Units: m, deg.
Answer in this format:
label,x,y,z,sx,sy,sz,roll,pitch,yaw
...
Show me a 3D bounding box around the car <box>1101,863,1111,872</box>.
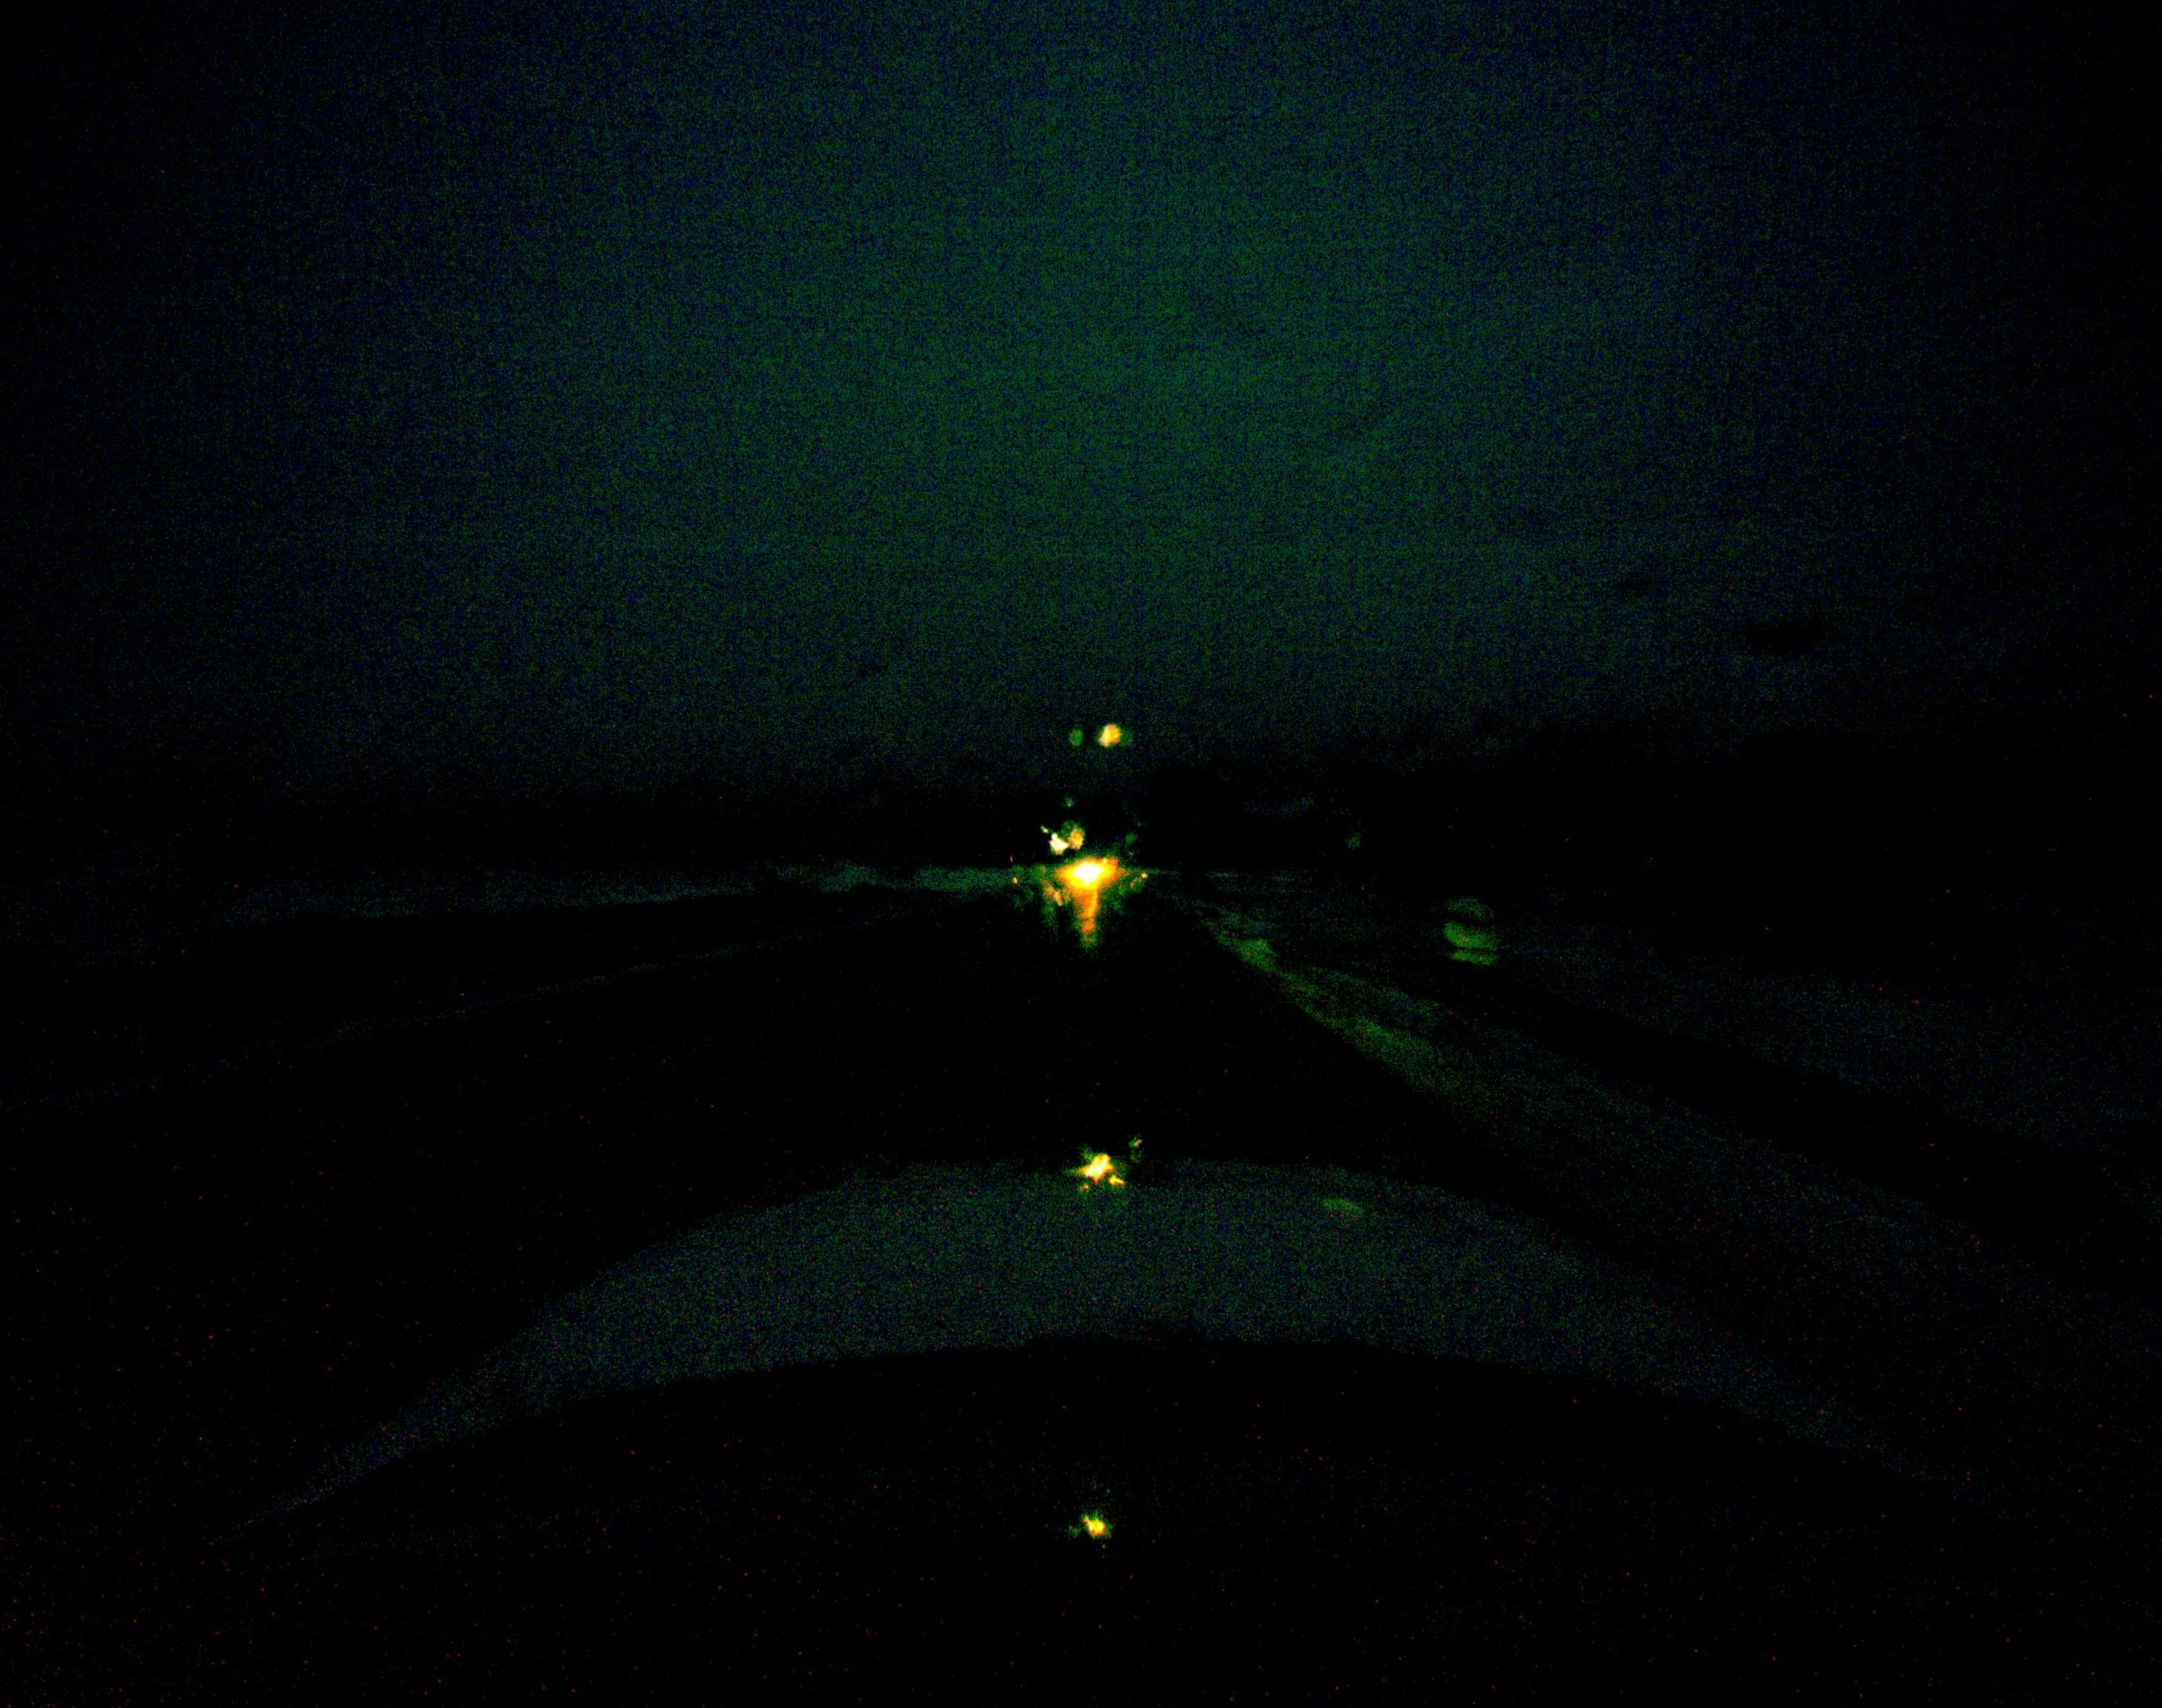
label,x,y,z,sx,sy,sz,roll,pitch,yaw
car,4.783,2.595,154.895,1.684,1.552,3.862,-1,1,6
